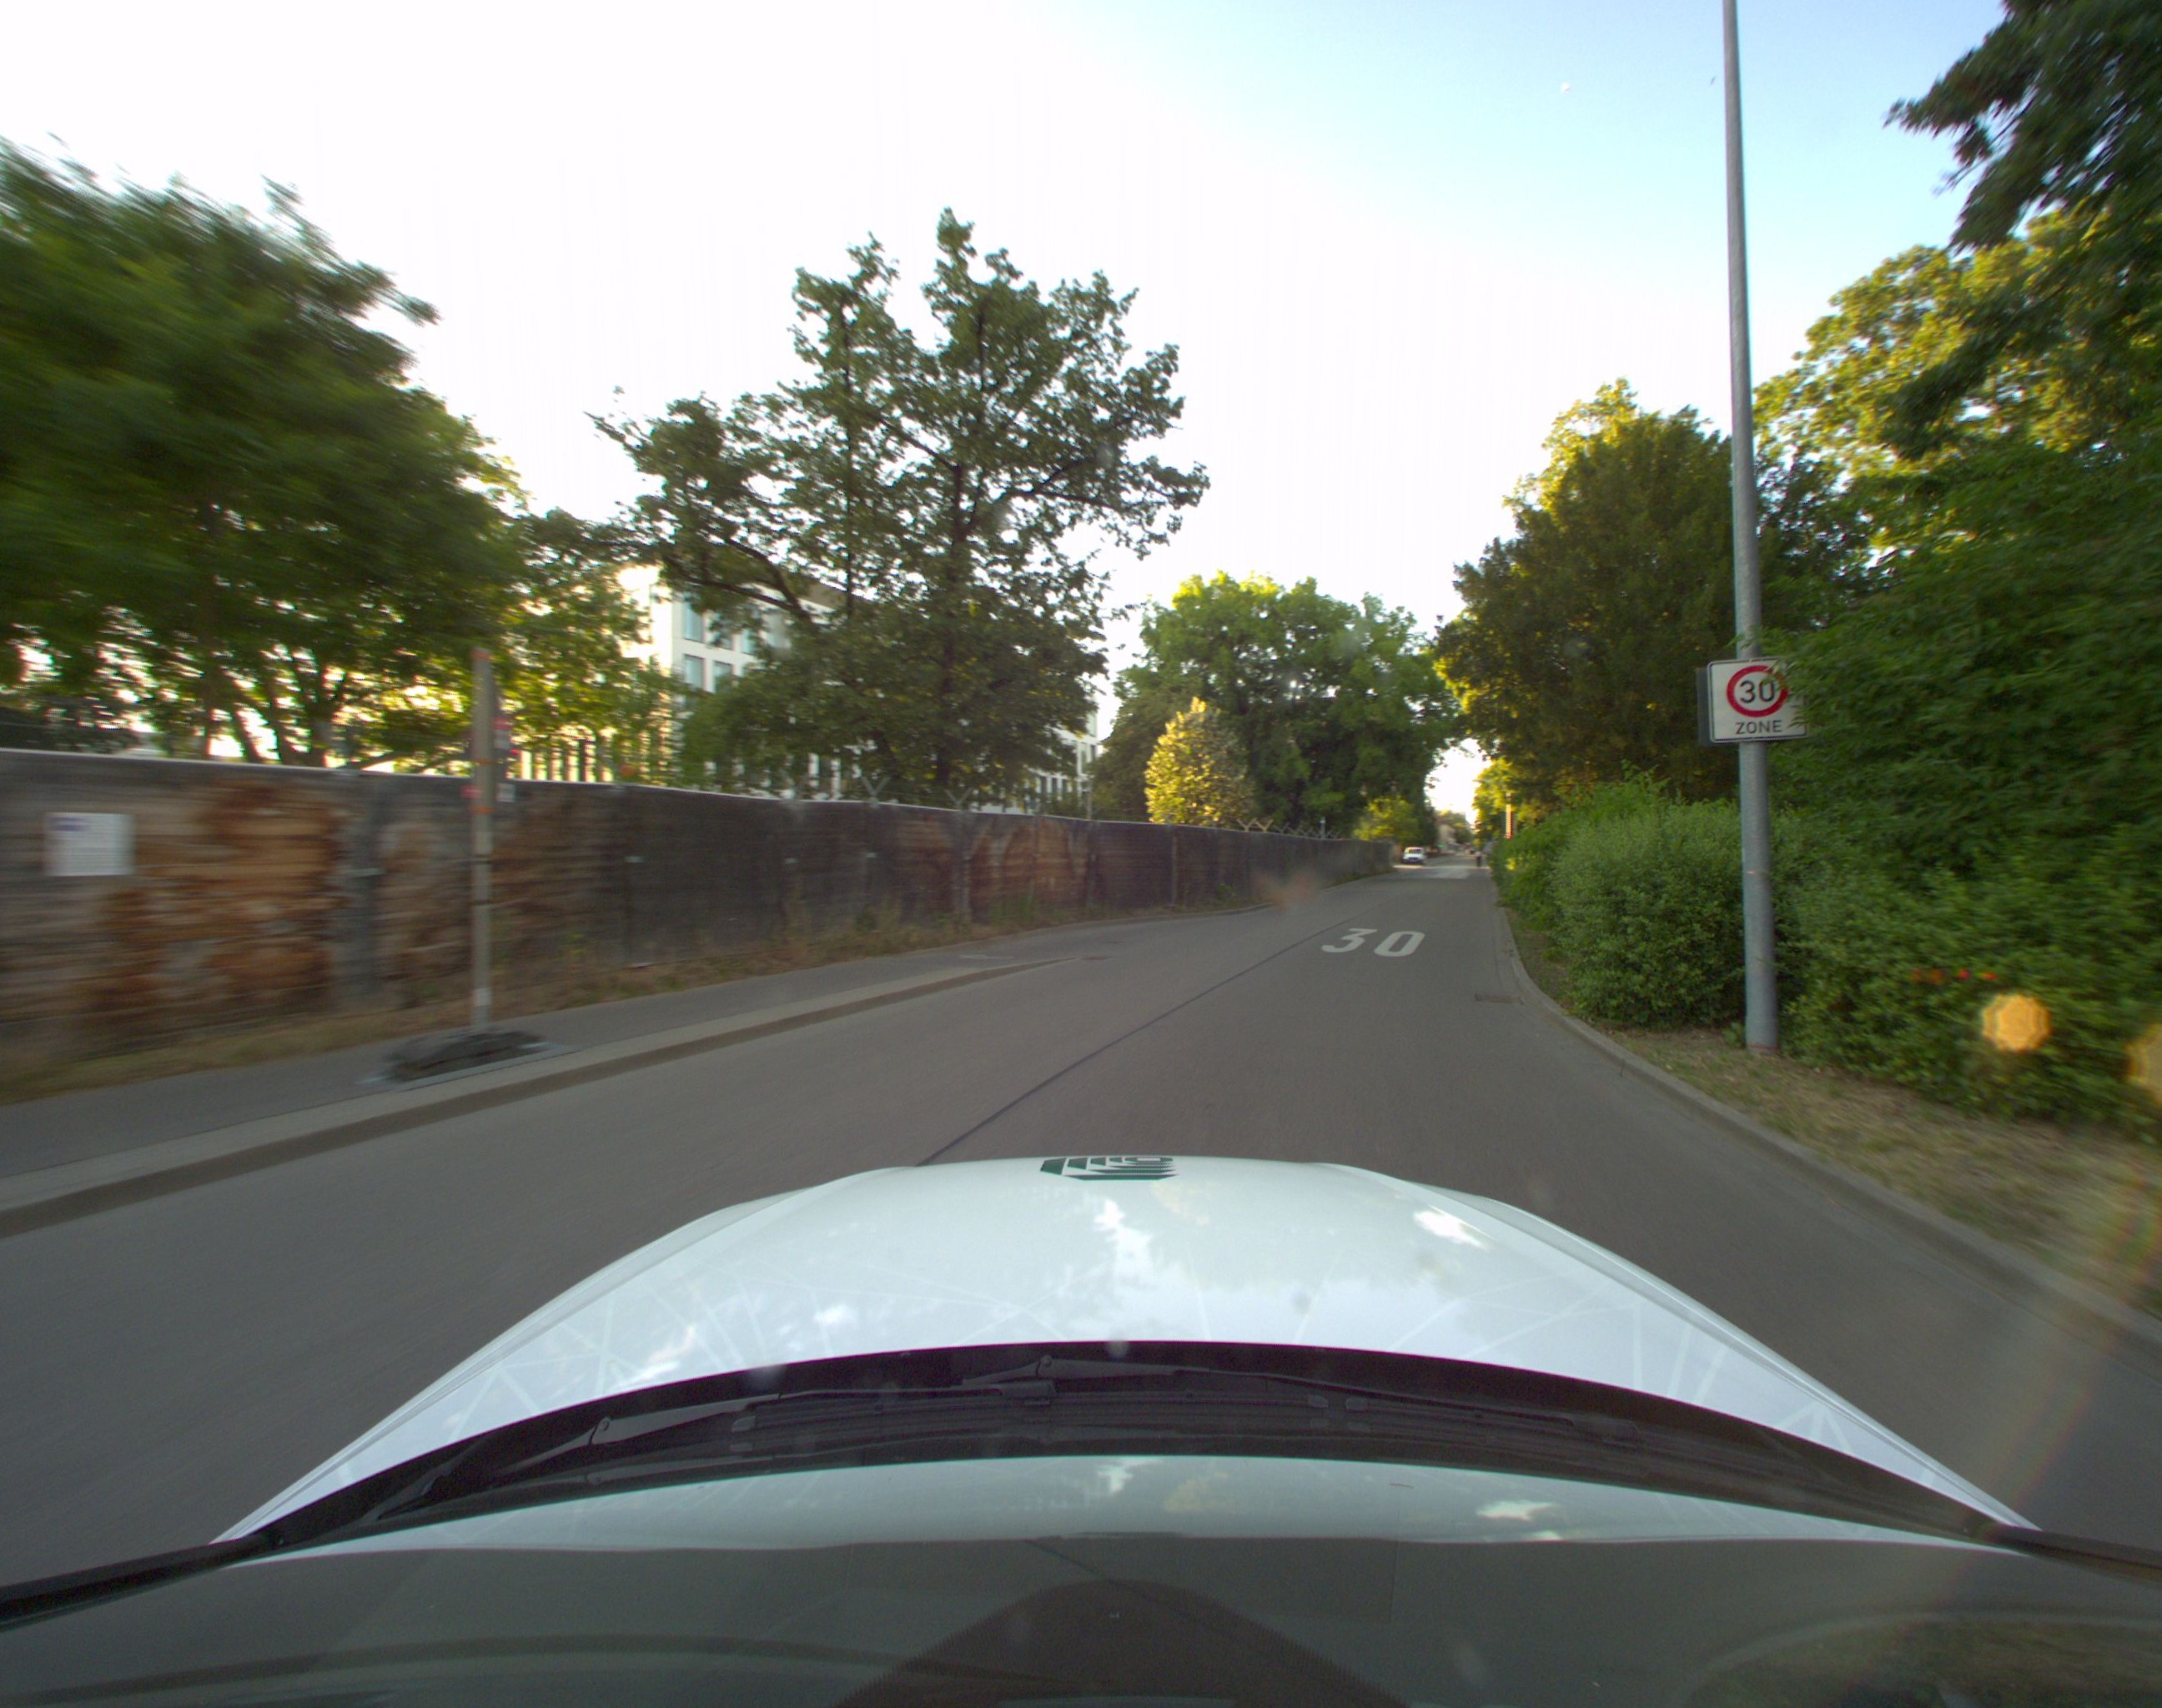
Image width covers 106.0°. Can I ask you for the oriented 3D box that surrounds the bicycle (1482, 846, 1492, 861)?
[{"bbox_3d":[33.027,-0.007,66.286,0.632,1.193,1.887,1,0,25],"label":"bicycle"}]

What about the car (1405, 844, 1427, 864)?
[{"bbox_3d":[36.586,0.007,88.909,1.865,2.014,5.256,1,0,25],"label":"car"}]

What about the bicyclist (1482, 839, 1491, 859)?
[{"bbox_3d":[33.036,-0.402,66.311,0.633,1.667,0.847,1,0,25],"label":"bicyclist"}]
